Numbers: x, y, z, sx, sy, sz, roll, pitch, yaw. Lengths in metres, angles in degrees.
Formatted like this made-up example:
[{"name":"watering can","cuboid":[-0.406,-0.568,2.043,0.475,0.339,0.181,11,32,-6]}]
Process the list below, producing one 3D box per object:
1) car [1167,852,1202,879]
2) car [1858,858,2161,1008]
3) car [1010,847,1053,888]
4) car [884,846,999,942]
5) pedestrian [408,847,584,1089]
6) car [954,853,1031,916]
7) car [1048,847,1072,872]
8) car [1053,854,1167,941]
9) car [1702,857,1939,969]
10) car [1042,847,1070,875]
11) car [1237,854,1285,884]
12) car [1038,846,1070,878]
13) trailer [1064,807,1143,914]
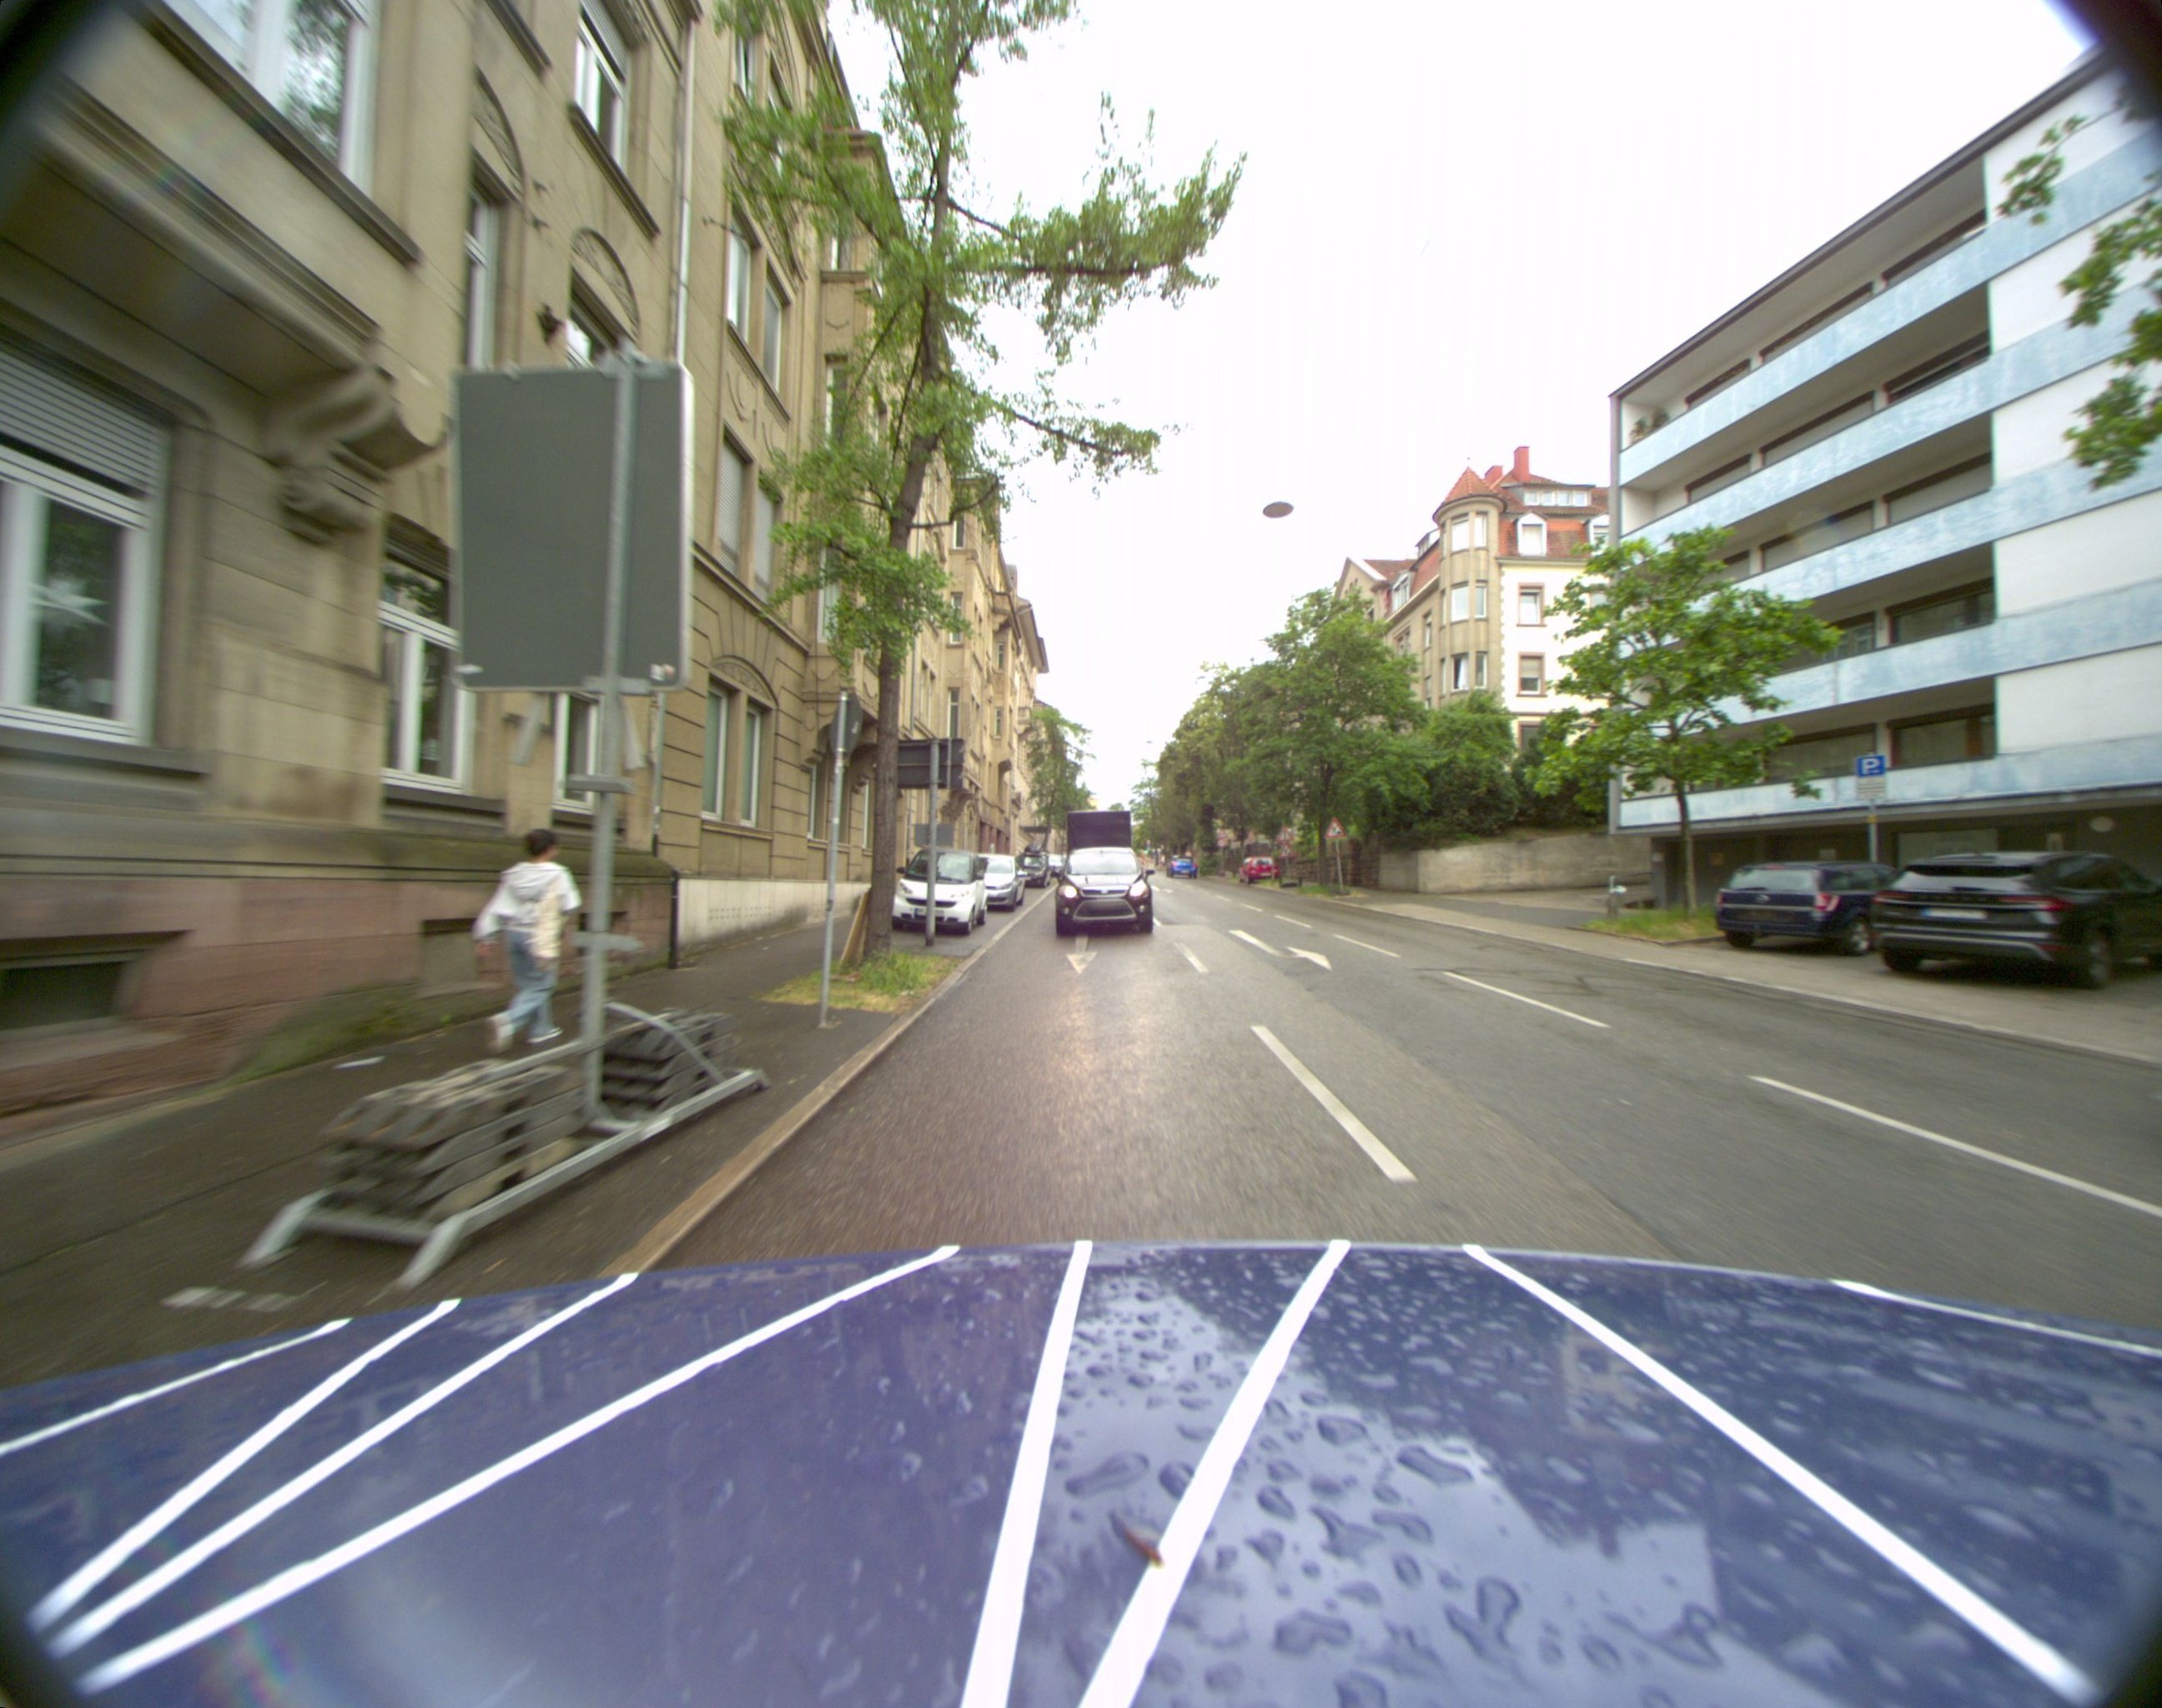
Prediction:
[{"name":"car","cuboid":[6.850,0.758,50.703,1.794,1.655,3.887,3,0,2]},{"name":"car","cuboid":[12.796,0.898,10.235,4.317,1.583,1.808,-1,1,-23]},{"name":"car","cuboid":[-2.239,0.590,35.122,1.547,1.699,3.763,4,0,1]},{"name":"car","cuboid":[-2.683,0.709,15.346,1.526,1.608,3.494,4,0,1]},{"name":"pedestrian","cuboid":[-3.943,0.728,5.167,0.644,1.488,0.690,3,4,0]},{"name":"car","cuboid":[-2.348,0.778,21.016,1.547,1.478,3.763,4,0,1]},{"name":"car","cuboid":[-1.561,0.388,57.075,1.547,1.699,3.763,4,0,1]},{"name":"car","cuboid":[0.446,0.776,15.140,1.863,1.503,3.681,1,0,-4]},{"name":"car","cuboid":[12.741,0.897,13.073,3.841,1.523,1.767,-3,1,-27]},{"name":"car","cuboid":[-1.625,0.459,50.792,1.547,1.699,3.763,4,0,1]},{"name":"car","cuboid":[9.762,0.795,41.475,1.752,1.497,3.887,3,0,3]},{"name":"car","cuboid":[-1.527,0.458,44.530,1.547,1.699,3.763,4,0,1]},{"name":"trailer","cuboid":[0.653,0.203,21.088,1.938,2.621,4.685,0,-1,2]}]
